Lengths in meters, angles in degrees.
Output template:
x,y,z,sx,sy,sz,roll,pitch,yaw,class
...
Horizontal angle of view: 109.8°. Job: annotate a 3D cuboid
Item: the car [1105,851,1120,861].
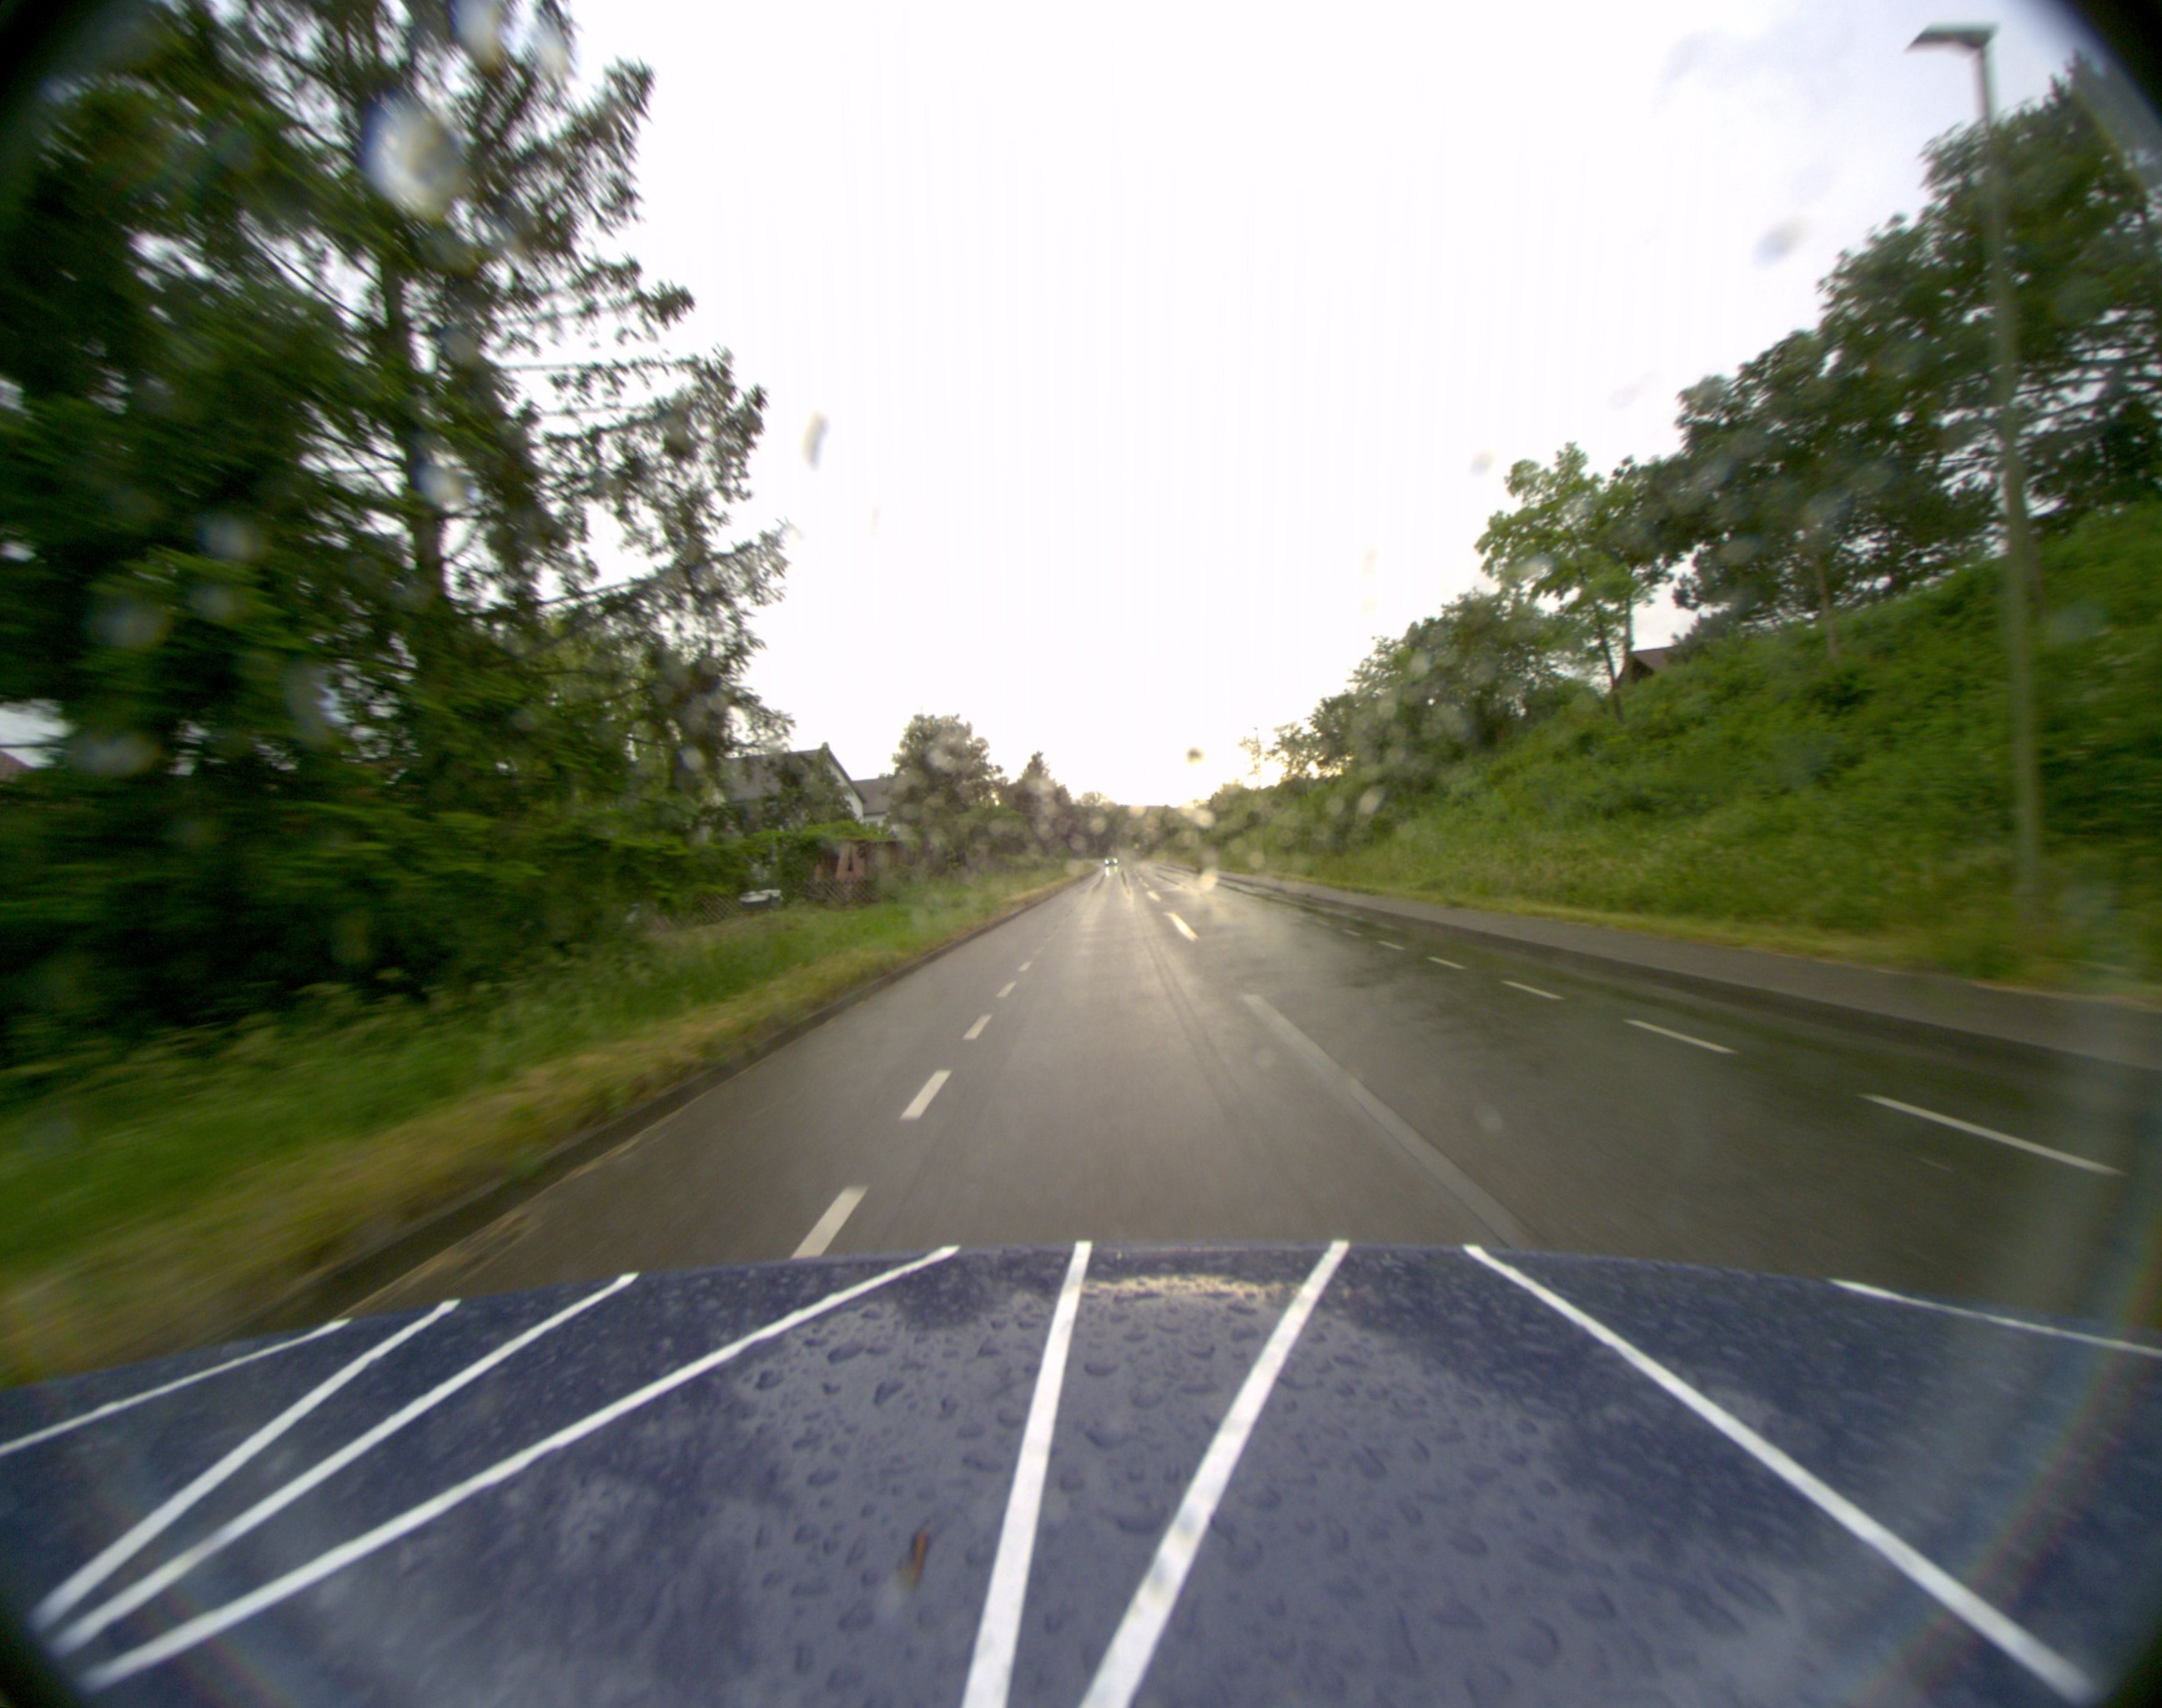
x,y,z,sx,sy,sz,roll,pitch,yaw,class
5.277,0.332,127.614,1.880,1.596,3.998,-2,0,-4,car
